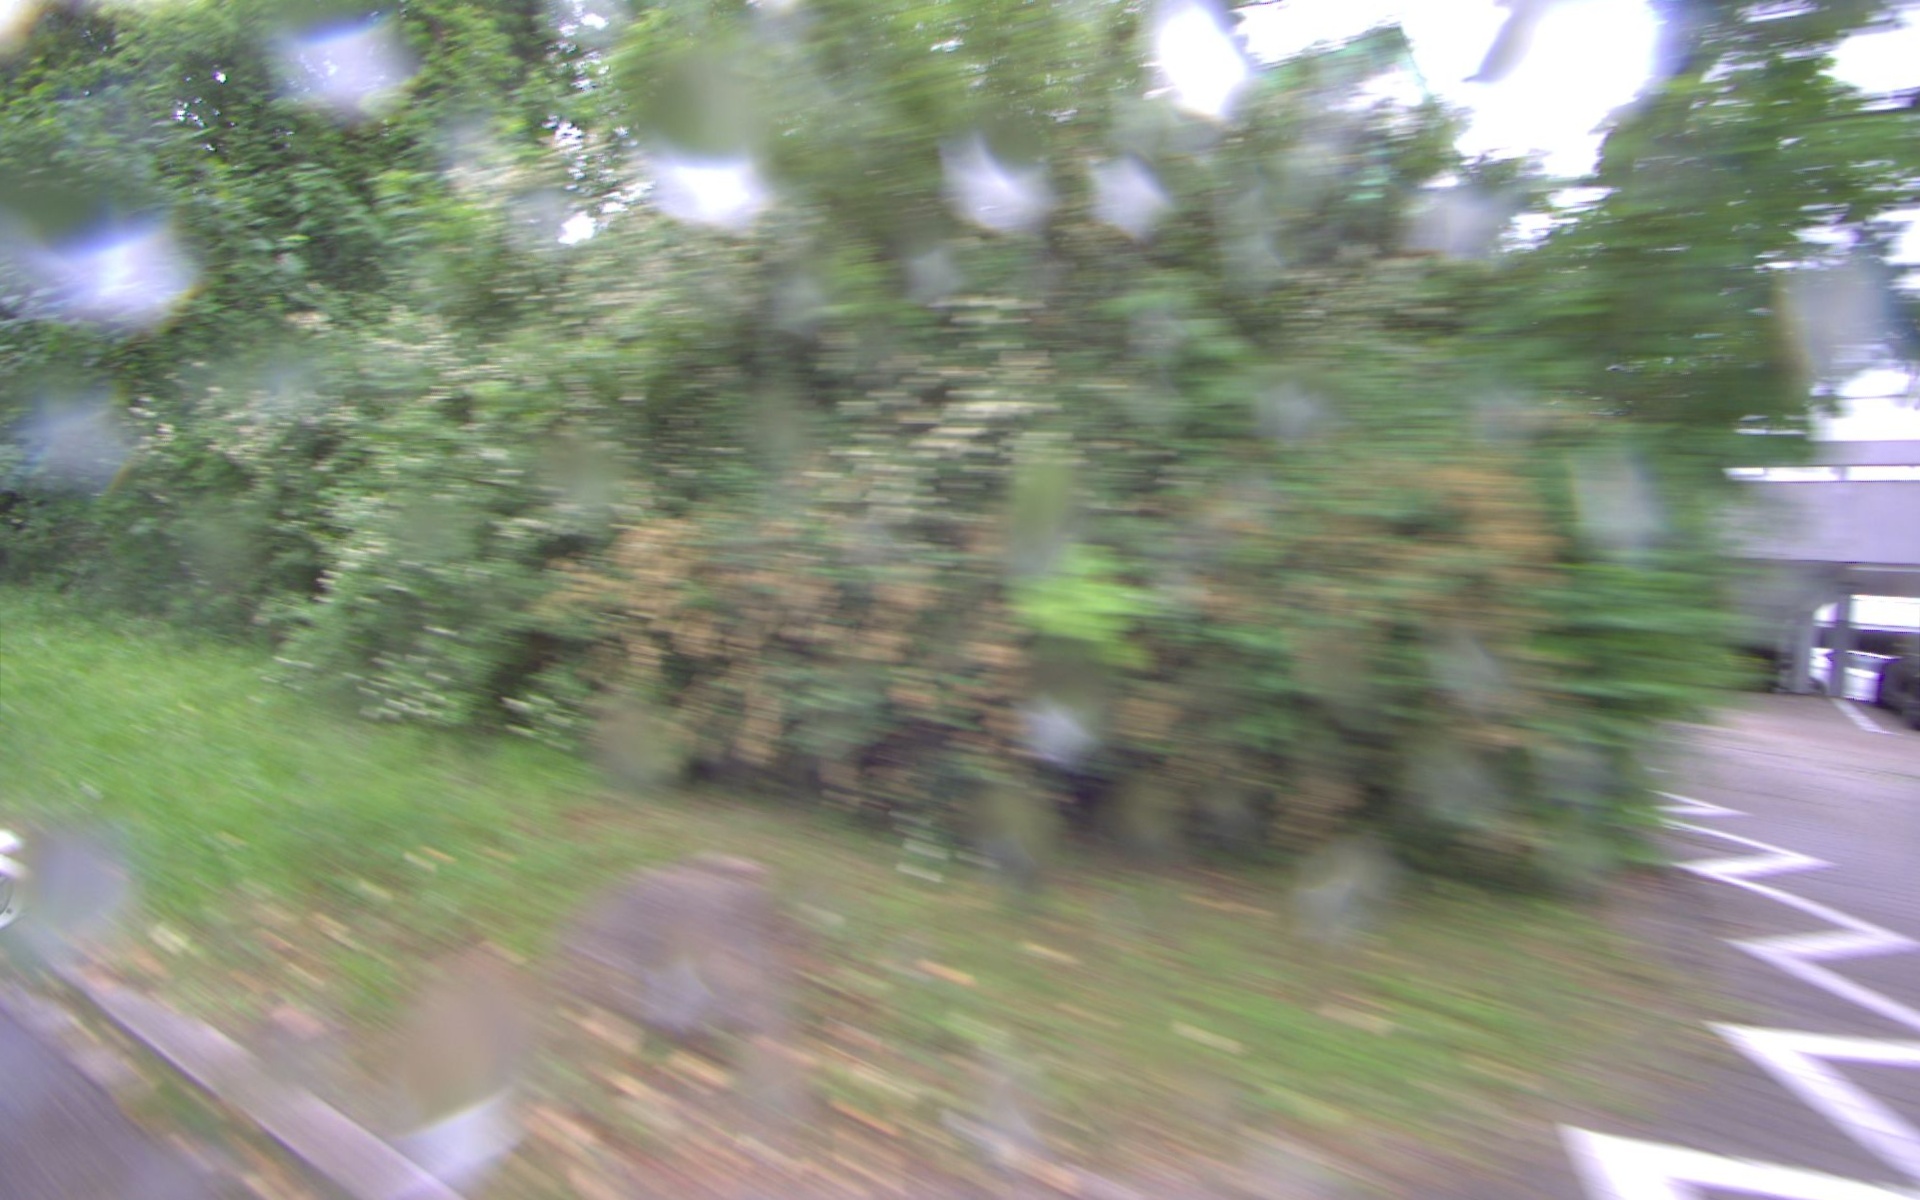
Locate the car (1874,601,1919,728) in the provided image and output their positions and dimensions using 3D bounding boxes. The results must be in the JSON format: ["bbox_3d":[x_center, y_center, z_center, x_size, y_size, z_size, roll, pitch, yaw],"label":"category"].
[{"bbox_3d":[14.866,1.077,14.479,1.970,1.771,3.986,7,0,37],"label":"car"}]

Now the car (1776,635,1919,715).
[{"bbox_3d":[23.604,1.961,25.782,3.945,1.662,1.917,7,2,43],"label":"car"}]
